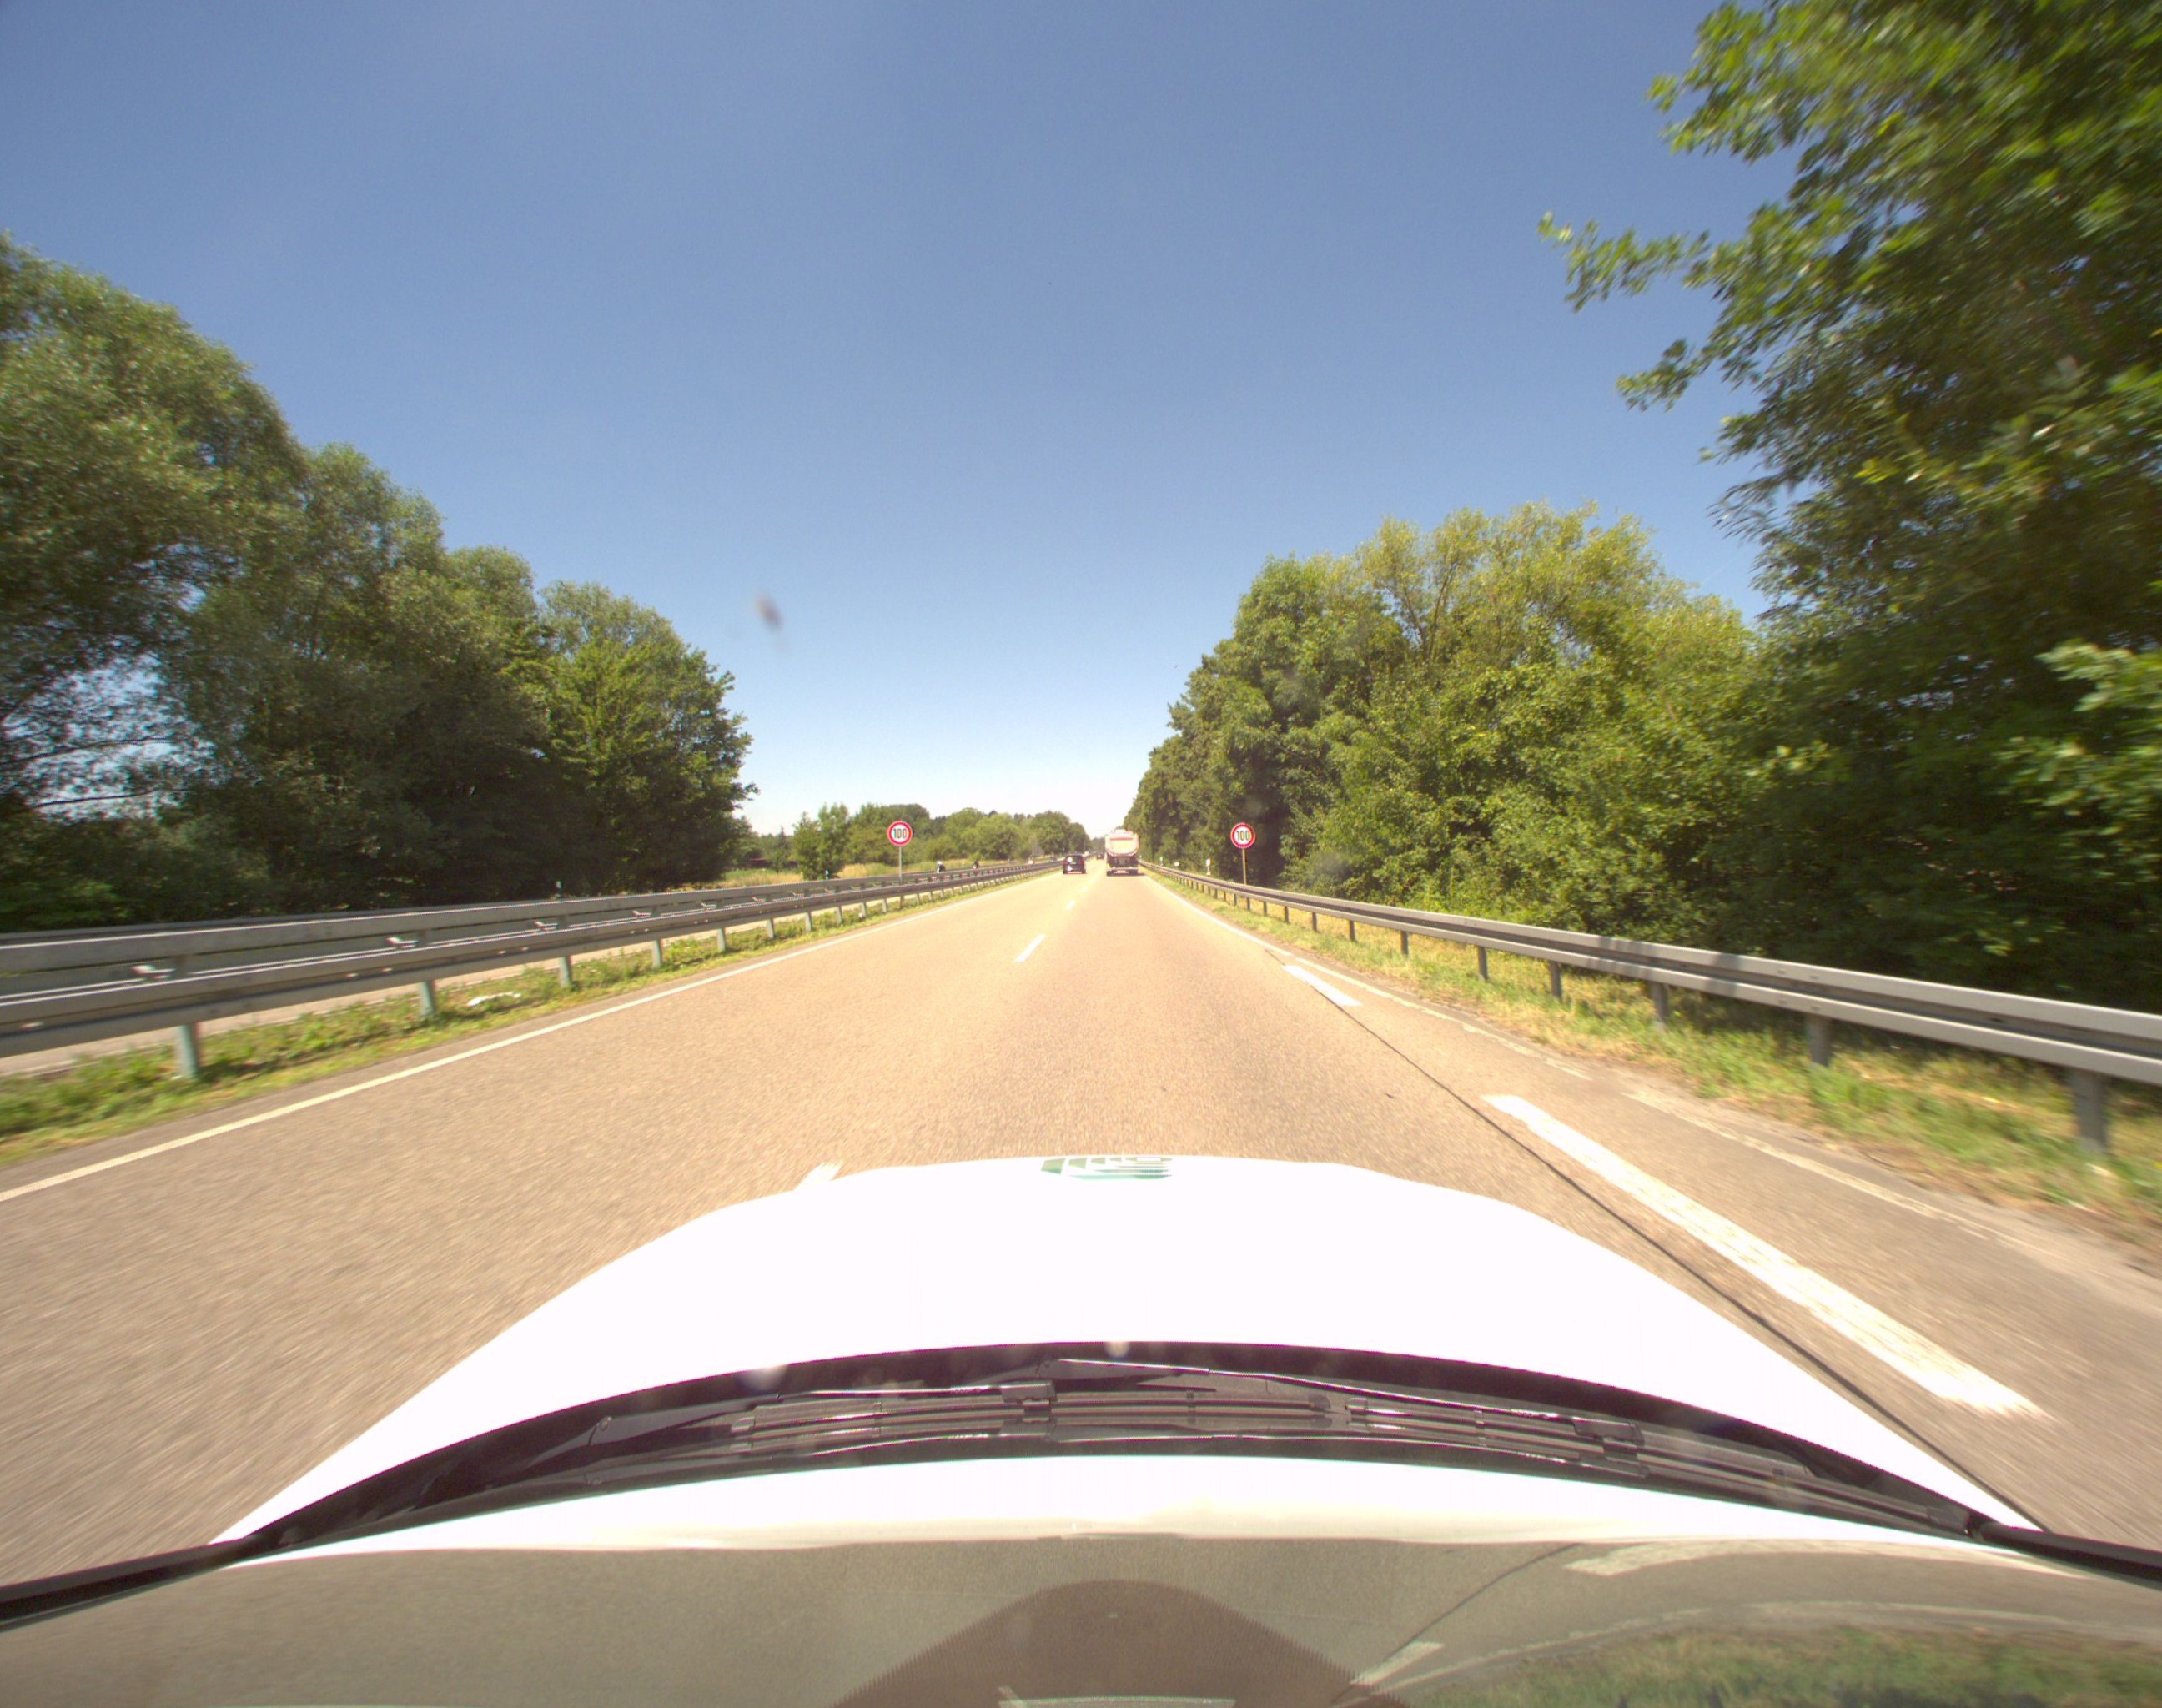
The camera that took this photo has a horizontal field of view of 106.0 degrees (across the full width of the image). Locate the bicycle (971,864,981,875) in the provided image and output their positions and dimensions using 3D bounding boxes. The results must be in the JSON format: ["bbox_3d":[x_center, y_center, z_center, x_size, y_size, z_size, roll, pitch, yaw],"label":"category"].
[{"bbox_3d":[-10.779,1.574,83.540,0.611,1.157,2.281,-1,-1,2],"label":"bicycle"}]

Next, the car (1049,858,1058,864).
[{"bbox_3d":[-5.765,1.452,168.522,1.622,1.332,3.537,-1,0,2],"label":"car"}]

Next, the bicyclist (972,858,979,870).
[{"bbox_3d":[-10.788,1.012,83.356,0.611,1.277,0.608,-1,-1,2],"label":"bicyclist"}]

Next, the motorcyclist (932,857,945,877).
[{"bbox_3d":[-10.583,0.937,60.521,0.715,1.482,0.810,-1,-1,3],"label":"motorcyclist"}]

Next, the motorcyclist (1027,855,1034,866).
[{"bbox_3d":[-7.960,0.994,128.377,0.942,1.617,0.809,-2,-1,1],"label":"motorcyclist"}]

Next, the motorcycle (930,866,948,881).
[{"bbox_3d":[-10.555,1.406,60.495,0.723,1.064,2.668,-1,-1,2],"label":"motorcycle"}]

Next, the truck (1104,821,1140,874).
[{"bbox_3d":[3.254,-0.499,67.448,2.710,3.930,12.374,-1,0,2],"label":"truck"}]

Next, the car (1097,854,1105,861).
[{"bbox_3d":[4.558,0.811,186.619,1.851,1.718,4.000,0,-1,1],"label":"car"}]

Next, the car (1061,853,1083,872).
[{"bbox_3d":[-0.774,0.774,72.263,1.851,1.671,4.000,0,-1,1],"label":"car"}]
